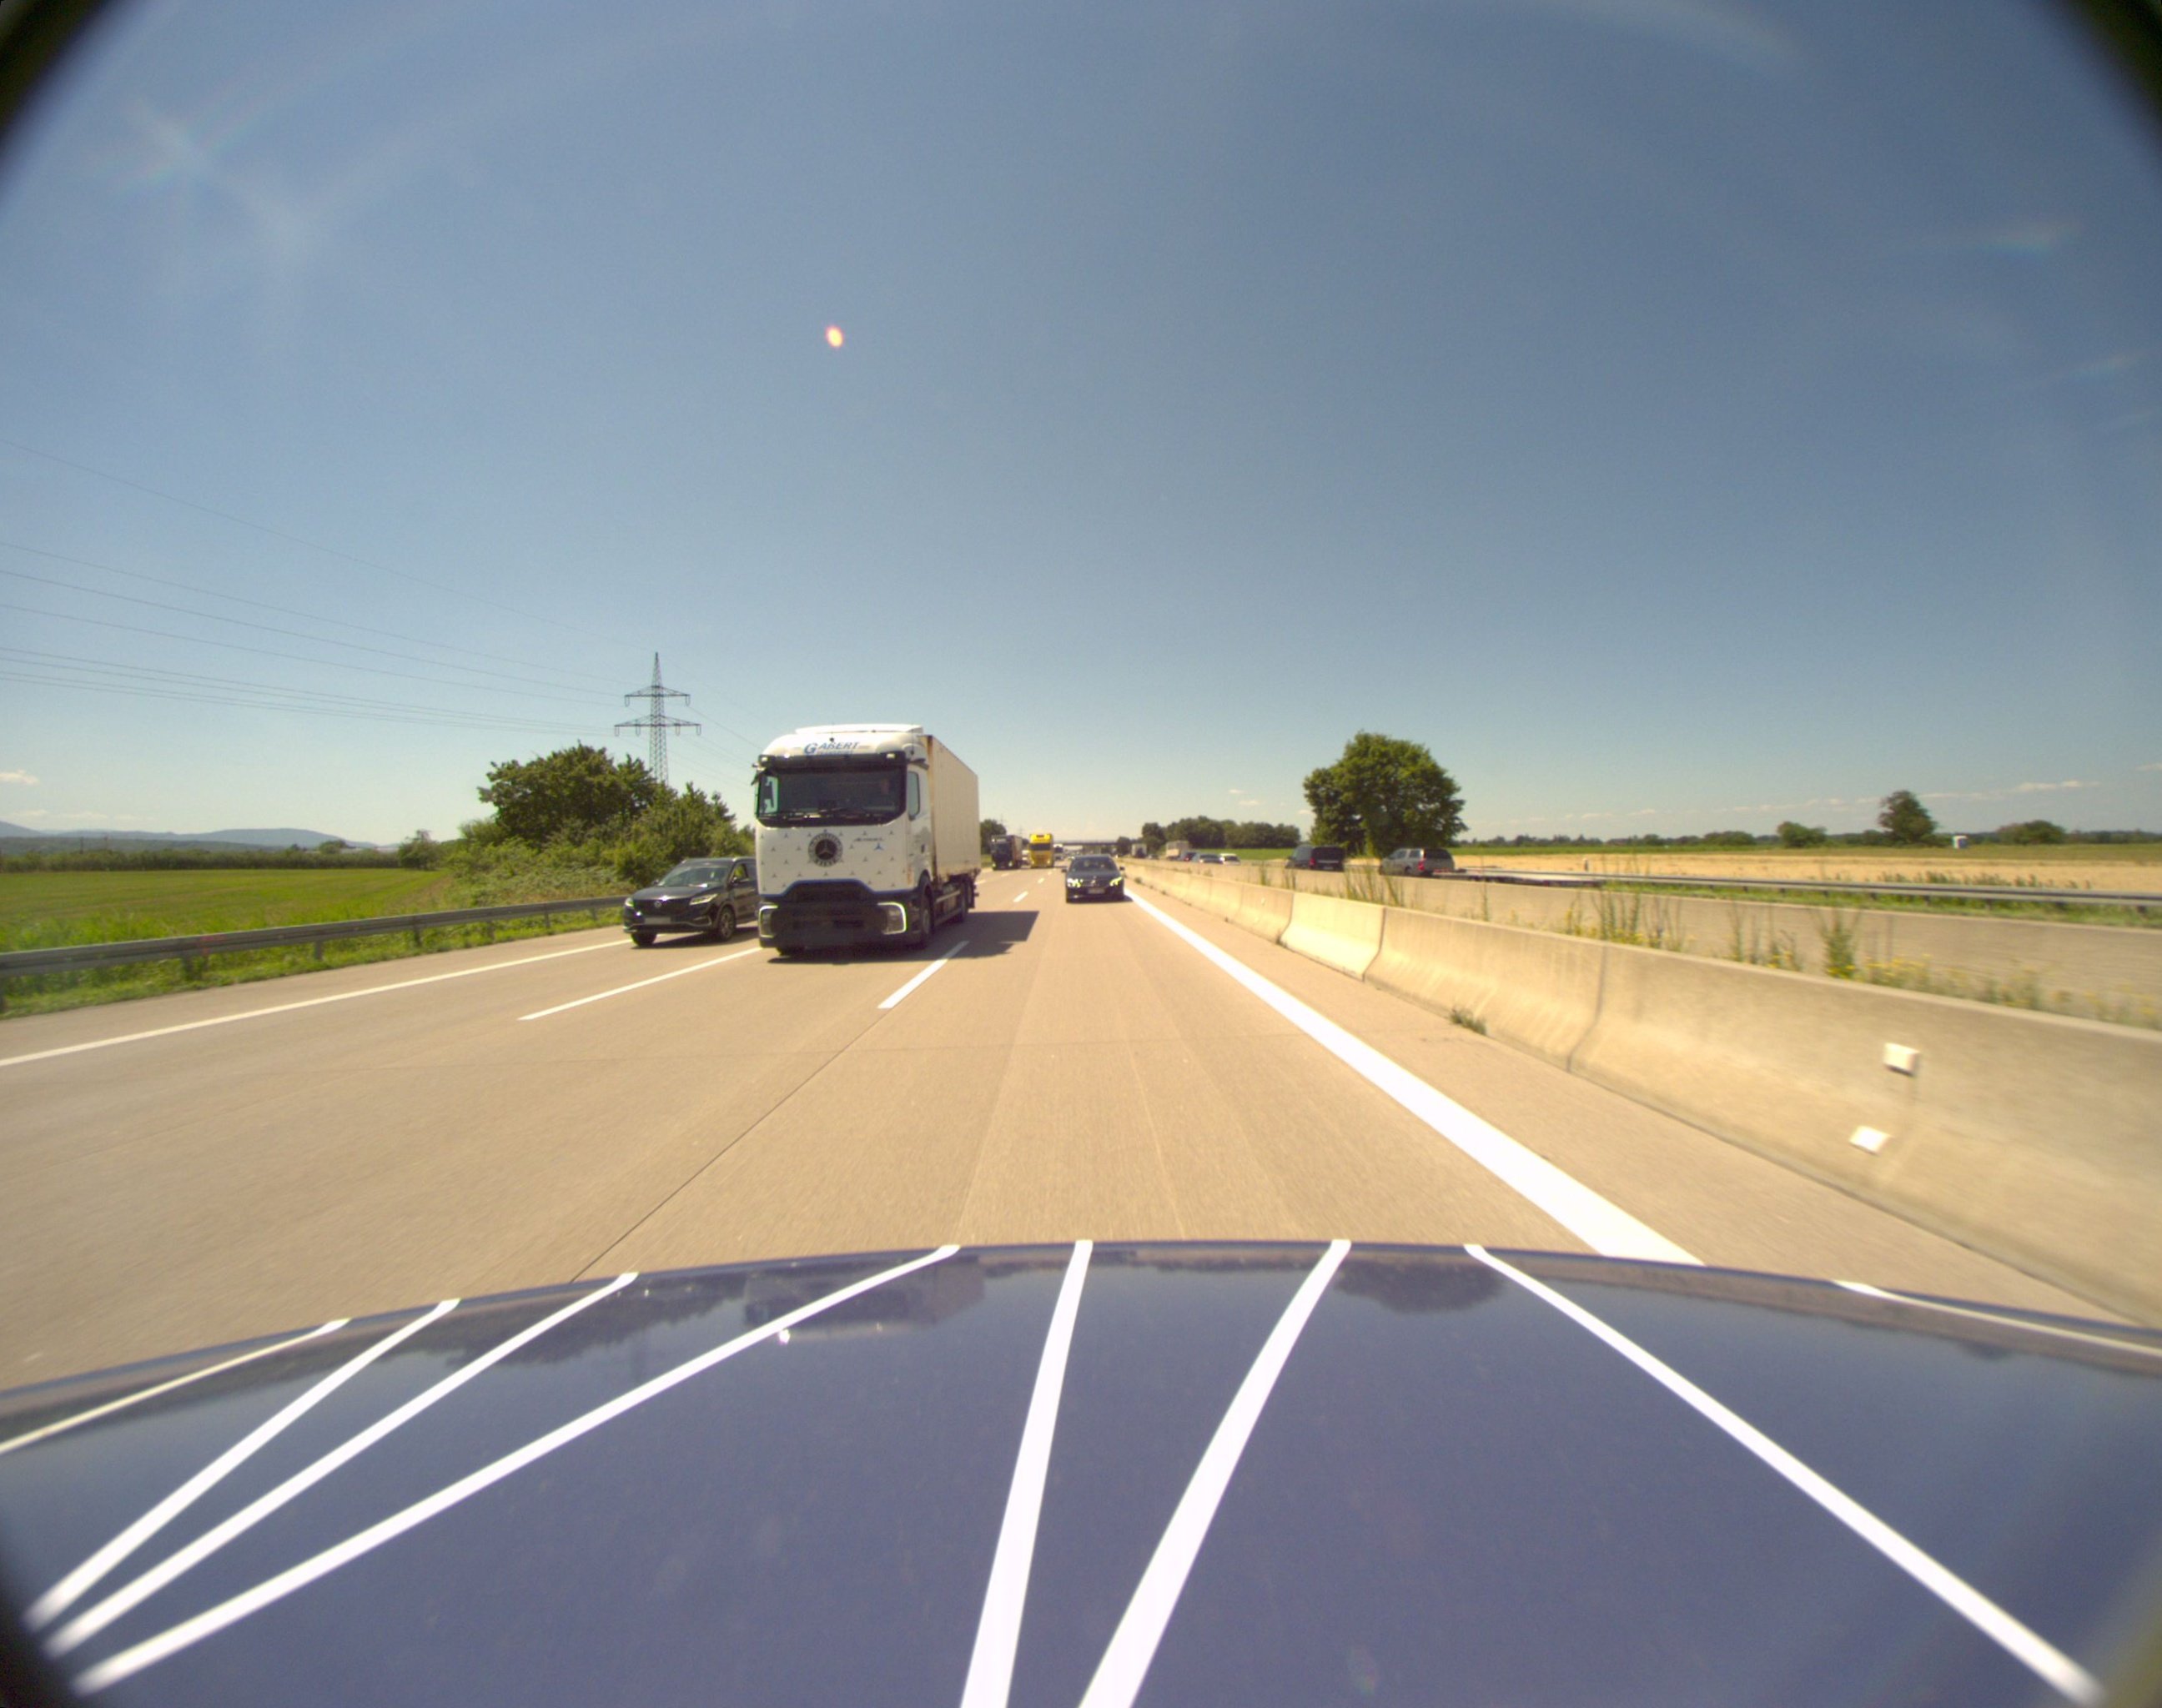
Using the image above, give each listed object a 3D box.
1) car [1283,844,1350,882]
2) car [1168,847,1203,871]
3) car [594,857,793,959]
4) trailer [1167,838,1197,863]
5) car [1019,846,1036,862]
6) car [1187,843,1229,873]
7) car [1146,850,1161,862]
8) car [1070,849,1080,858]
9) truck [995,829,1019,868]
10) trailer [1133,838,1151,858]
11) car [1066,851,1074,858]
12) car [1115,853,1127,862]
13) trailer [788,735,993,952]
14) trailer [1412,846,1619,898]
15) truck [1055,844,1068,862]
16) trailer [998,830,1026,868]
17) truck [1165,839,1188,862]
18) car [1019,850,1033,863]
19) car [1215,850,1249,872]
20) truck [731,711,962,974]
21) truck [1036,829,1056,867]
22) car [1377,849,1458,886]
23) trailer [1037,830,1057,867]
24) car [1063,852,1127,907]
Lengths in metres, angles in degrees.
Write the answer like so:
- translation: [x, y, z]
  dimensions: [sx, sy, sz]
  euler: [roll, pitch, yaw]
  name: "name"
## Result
- translation: [12.536, 0.435, 40.774]
  dimensions: [1.998, 1.867, 5.183]
  euler: [-3, 0, 1]
  name: "car"
- translation: [8.051, 0.384, 58.914]
  dimensions: [1.998, 1.707, 5.029]
  euler: [-3, 0, 1]
  name: "car"
- translation: [-7.949, 1.015, 16.105]
  dimensions: [1.998, 1.772, 4.000]
  euler: [-2, 0, 2]
  name: "car"
- translation: [16.349, -0.574, 123.820]
  dimensions: [2.810, 3.662, 13.747]
  euler: [-3, 0, 0]
  name: "trailer"
- translation: [-8.527, -0.043, 121.518]
  dimensions: [2.139, 2.333, 5.515]
  euler: [-3, 0, 0]
  name: "car"
- translation: [8.016, 0.244, 48.323]
  dimensions: [1.998, 1.707, 4.000]
  euler: [-3, 0, 1]
  name: "car"
- translation: [11.497, 0.296, 120.129]
  dimensions: [1.968, 1.707, 5.127]
  euler: [-2, 0, 2]
  name: "car"
- translation: [-1.189, -0.025, 161.378]
  dimensions: [1.999, 1.780, 4.300]
  euler: [-3, 0, 0]
  name: "car"
- translation: [-8.284, -0.584, 85.705]
  dimensions: [1.999, 4.168, 5.705]
  euler: [-3, 1, 0]
  name: "truck"
- translation: [12.937, -1.233, 162.751]
  dimensions: [2.908, 3.947, 8.476]
  euler: [-3, 0, -1]
  name: "trailer"
- translation: [-3.137, 0.034, 217.317]
  dimensions: [1.999, 1.827, 4.814]
  euler: [-3, 0, -3]
  name: "car"
- translation: [8.182, 0.644, 155.463]
  dimensions: [1.998, 1.707, 5.024]
  euler: [-3, 0, 0]
  name: "car"
- translation: [-4.068, -0.210, 19.061]
  dimensions: [2.588, 3.855, 10.371]
  euler: [-3, 0, -1]
  name: "trailer"
- translation: [17.069, 0.591, 31.084]
  dimensions: [2.243, 1.735, 10.543]
  euler: [0, 0, -1]
  name: "trailer"
- translation: [-4.733, -0.198, 184.911]
  dimensions: [2.960, 4.122, 6.151]
  euler: [-3, 0, 0]
  name: "truck"
- translation: [-8.339, -0.617, 92.692]
  dimensions: [1.999, 4.168, 14.743]
  euler: [-3, 0, 0]
  name: "trailer"
- translation: [16.315, -0.568, 129.844]
  dimensions: [2.810, 3.666, 7.235]
  euler: [-3, 0, 0]
  name: "truck"
- translation: [-8.462, 0.375, 116.866]
  dimensions: [1.788, 2.002, 3.819]
  euler: [-3, 0, 0]
  name: "car"
- translation: [13.033, 0.588, 65.769]
  dimensions: [1.998, 1.707, 4.613]
  euler: [-3, 0, 1]
  name: "car"
- translation: [-3.917, -0.186, 13.944]
  dimensions: [2.588, 3.855, 4.983]
  euler: [-3, 1, -1]
  name: "truck"
- translation: [-4.096, -0.736, 88.633]
  dimensions: [1.999, 4.230, 5.193]
  euler: [-3, 1, -1]
  name: "truck"
- translation: [16.823, 0.633, 38.212]
  dimensions: [1.999, 1.707, 4.300]
  euler: [-3, 0, -2]
  name: "car"
- translation: [-4.190, -0.700, 95.693]
  dimensions: [1.999, 4.230, 15.196]
  euler: [-3, 0, -1]
  name: "trailer"
- translation: [0.407, 0.762, 24.687]
  dimensions: [1.848, 1.576, 3.939]
  euler: [-3, 0, 0]
  name: "car"
